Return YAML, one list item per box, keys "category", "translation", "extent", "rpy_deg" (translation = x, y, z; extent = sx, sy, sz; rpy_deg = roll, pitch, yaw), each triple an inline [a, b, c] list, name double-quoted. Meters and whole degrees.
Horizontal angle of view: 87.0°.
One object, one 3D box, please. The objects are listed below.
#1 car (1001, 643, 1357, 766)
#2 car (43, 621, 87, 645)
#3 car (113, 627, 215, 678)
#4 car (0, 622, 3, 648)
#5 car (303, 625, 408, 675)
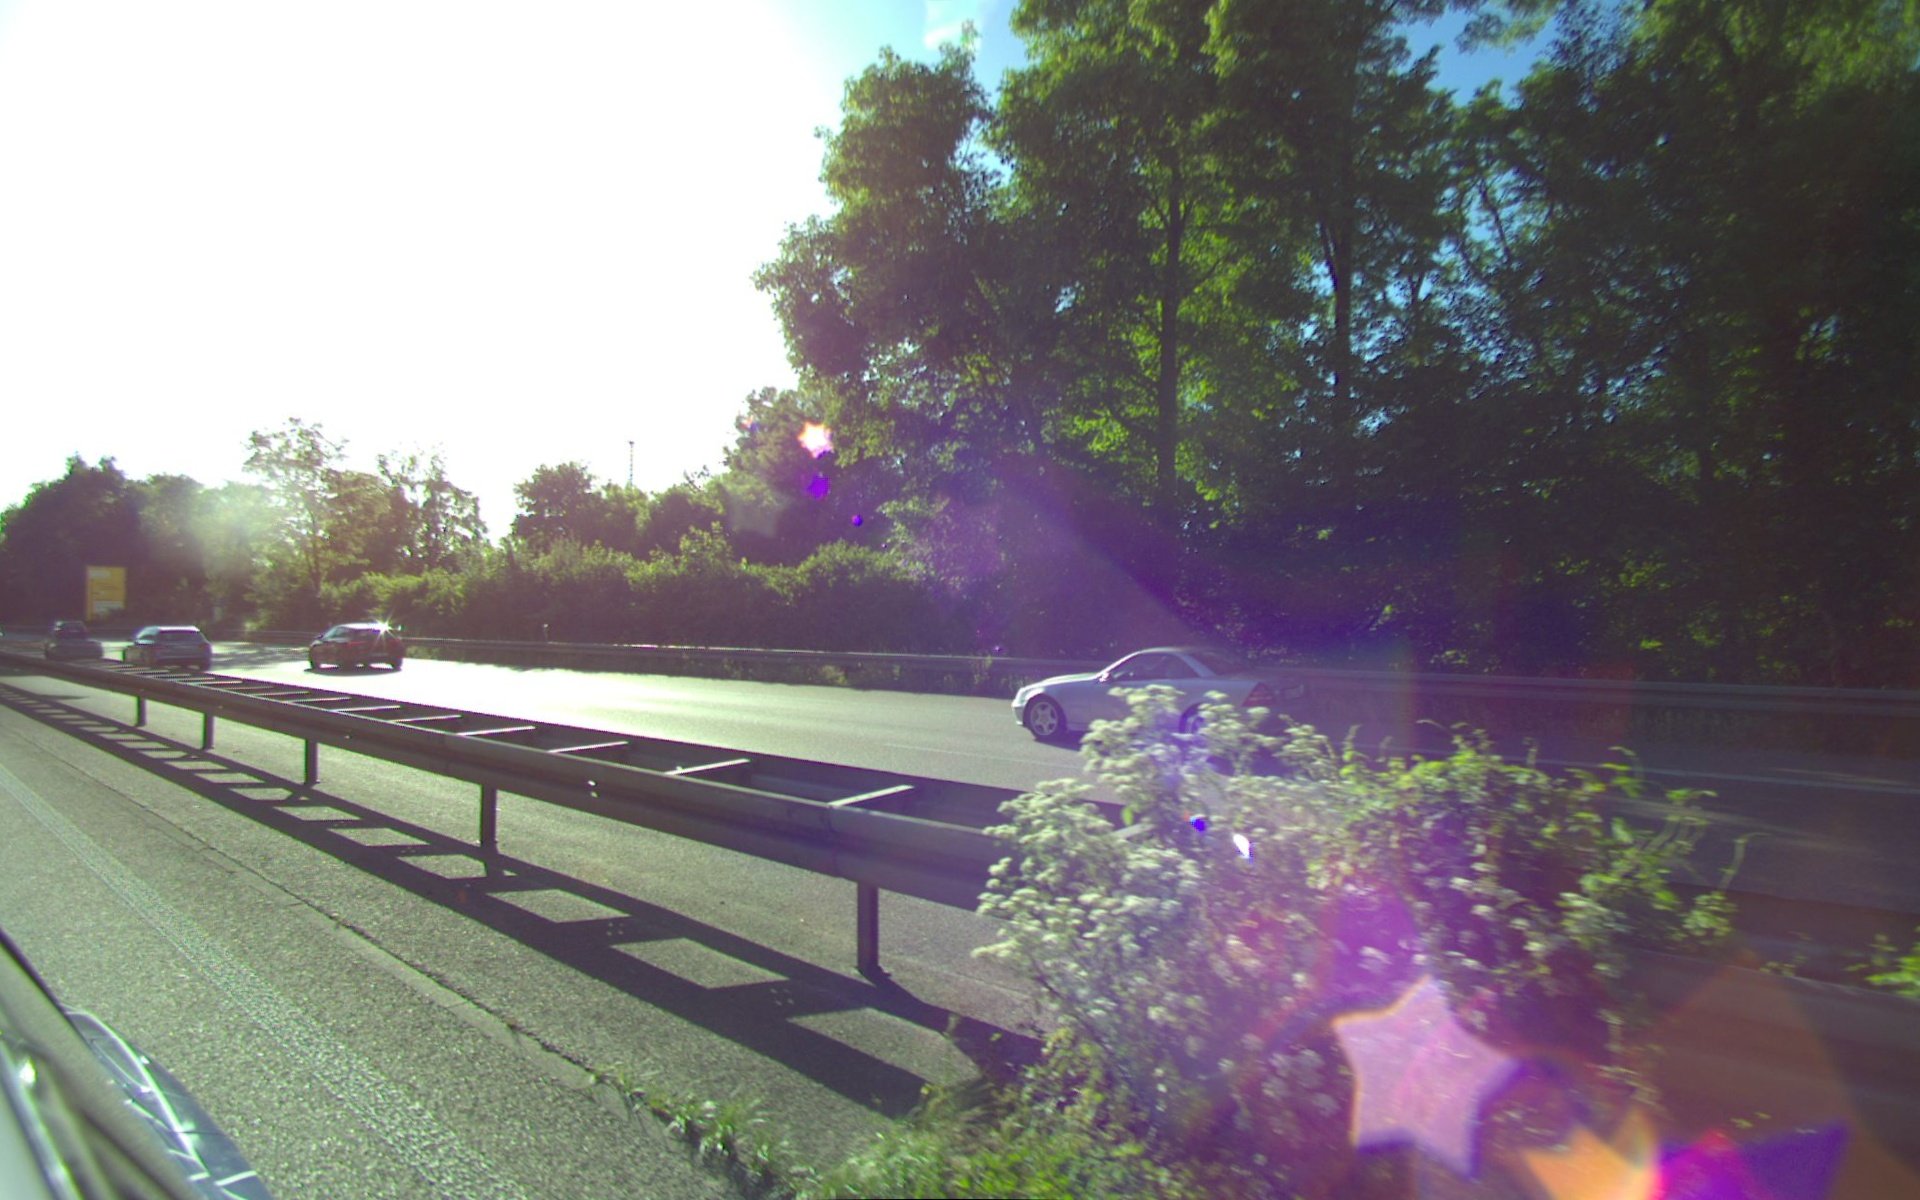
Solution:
- category: "car"
  translation: [2.697, 1.233, 13.105]
  extent: [4.261, 1.232, 1.628]
  rpy_deg: [-1, -1, 41]
- category: "car"
  translation: [-60.306, 2.204, 68.181]
  extent: [3.975, 1.506, 1.730]
  rpy_deg: [0, 0, 41]
- category: "car"
  translation: [-26.438, 1.685, 33.549]
  extent: [5.202, 1.436, 1.730]
  rpy_deg: [0, 0, 41]
- category: "car"
  translation: [-66.811, 2.381, 69.238]
  extent: [3.791, 1.716, 1.621]
  rpy_deg: [0, 0, 41]
- category: "car"
  translation: [-19.579, 1.567, 32.733]
  extent: [4.134, 1.436, 1.730]
  rpy_deg: [0, 0, 41]
